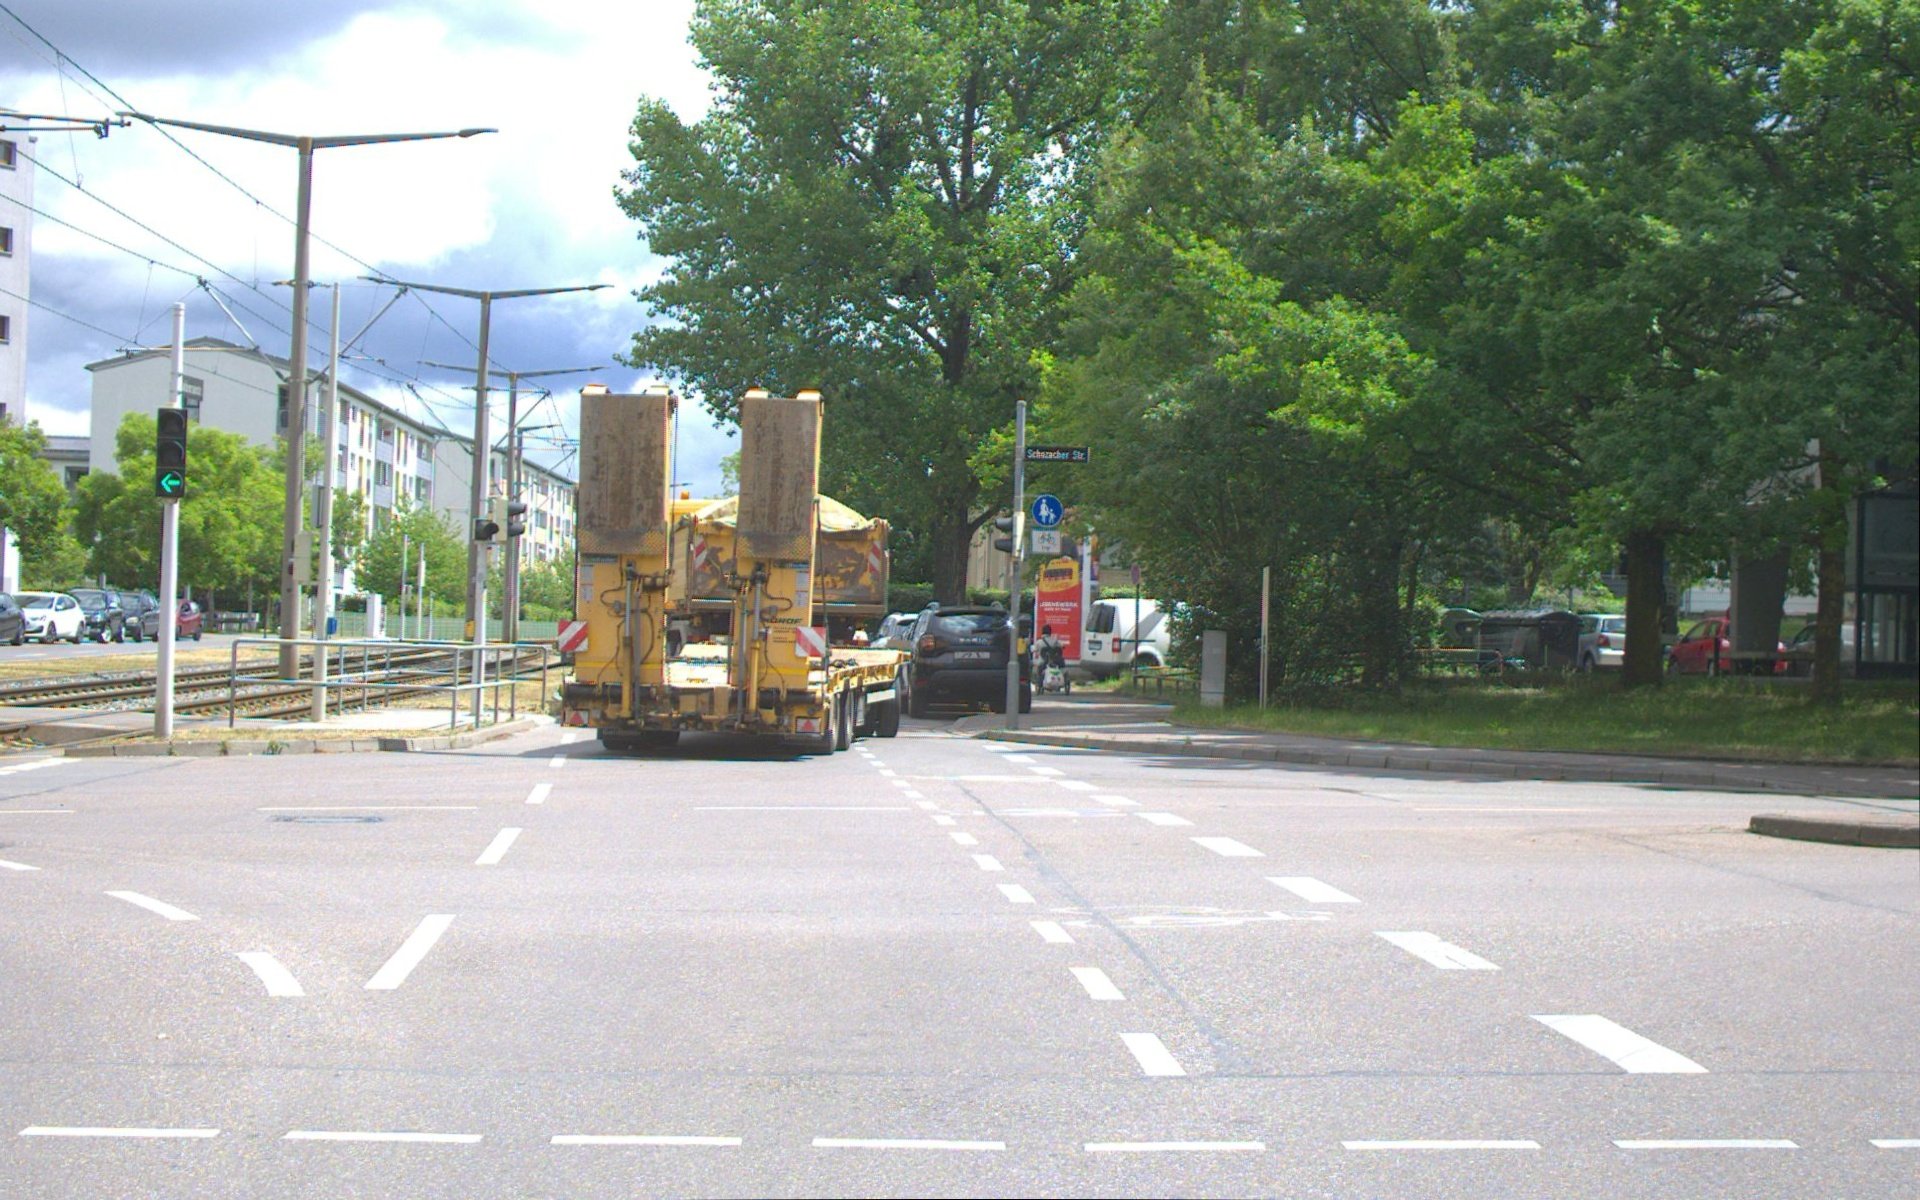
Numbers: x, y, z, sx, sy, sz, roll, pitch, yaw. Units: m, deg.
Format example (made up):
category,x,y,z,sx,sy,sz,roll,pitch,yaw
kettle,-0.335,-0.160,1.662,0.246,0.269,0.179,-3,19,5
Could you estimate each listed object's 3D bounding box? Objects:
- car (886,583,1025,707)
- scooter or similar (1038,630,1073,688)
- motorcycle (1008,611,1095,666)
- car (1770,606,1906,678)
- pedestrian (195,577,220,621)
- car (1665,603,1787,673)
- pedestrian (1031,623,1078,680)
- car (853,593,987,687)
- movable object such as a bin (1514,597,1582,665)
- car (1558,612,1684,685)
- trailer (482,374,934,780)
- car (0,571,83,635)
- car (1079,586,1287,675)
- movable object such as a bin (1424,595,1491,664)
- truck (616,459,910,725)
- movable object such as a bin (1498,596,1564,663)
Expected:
category,x,y,z,sx,sy,sz,roll,pitch,yaw
car,-0.114,0.638,51.990,1.643,1.756,4.570,1,0,-6
scooter or similar,1.765,1.096,63.835,0.476,1.051,0.897,1,0,-9
motorcycle,2.033,0.855,76.534,1.794,1.206,0.712,1,0,-25
car,19.452,0.915,76.286,1.743,1.465,4.001,1,1,-4
pedestrian,-29.029,-0.036,132.627,0.749,1.656,0.869,1,0,1
car,17.094,0.831,76.850,1.743,1.438,4.000,1,1,-1
pedestrian,1.758,0.956,63.823,0.775,1.051,0.547,1,0,-9
car,-0.756,0.688,61.218,1.783,1.560,4.571,1,0,-8
movable object such as a bin,12.636,0.663,73.933,1.115,1.425,1.286,1,0,-6
car,14.677,1.055,76.488,1.940,1.485,4.000,1,1,-1
trailer,-2.411,-0.268,37.966,3.051,3.760,11.610,1,0,5
car,-26.090,0.060,96.858,1.993,1.657,4.100,3,0,-5
car,4.723,0.643,72.789,3.986,1.816,1.811,1,0,-26
movable object such as a bin,10.547,0.629,72.964,1.115,1.425,1.286,1,0,-6
truck,-2.863,-0.135,47.205,2.833,3.319,7.986,1,0,-12
movable object such as a bin,12.499,0.637,75.283,1.115,1.425,1.286,1,0,-6
